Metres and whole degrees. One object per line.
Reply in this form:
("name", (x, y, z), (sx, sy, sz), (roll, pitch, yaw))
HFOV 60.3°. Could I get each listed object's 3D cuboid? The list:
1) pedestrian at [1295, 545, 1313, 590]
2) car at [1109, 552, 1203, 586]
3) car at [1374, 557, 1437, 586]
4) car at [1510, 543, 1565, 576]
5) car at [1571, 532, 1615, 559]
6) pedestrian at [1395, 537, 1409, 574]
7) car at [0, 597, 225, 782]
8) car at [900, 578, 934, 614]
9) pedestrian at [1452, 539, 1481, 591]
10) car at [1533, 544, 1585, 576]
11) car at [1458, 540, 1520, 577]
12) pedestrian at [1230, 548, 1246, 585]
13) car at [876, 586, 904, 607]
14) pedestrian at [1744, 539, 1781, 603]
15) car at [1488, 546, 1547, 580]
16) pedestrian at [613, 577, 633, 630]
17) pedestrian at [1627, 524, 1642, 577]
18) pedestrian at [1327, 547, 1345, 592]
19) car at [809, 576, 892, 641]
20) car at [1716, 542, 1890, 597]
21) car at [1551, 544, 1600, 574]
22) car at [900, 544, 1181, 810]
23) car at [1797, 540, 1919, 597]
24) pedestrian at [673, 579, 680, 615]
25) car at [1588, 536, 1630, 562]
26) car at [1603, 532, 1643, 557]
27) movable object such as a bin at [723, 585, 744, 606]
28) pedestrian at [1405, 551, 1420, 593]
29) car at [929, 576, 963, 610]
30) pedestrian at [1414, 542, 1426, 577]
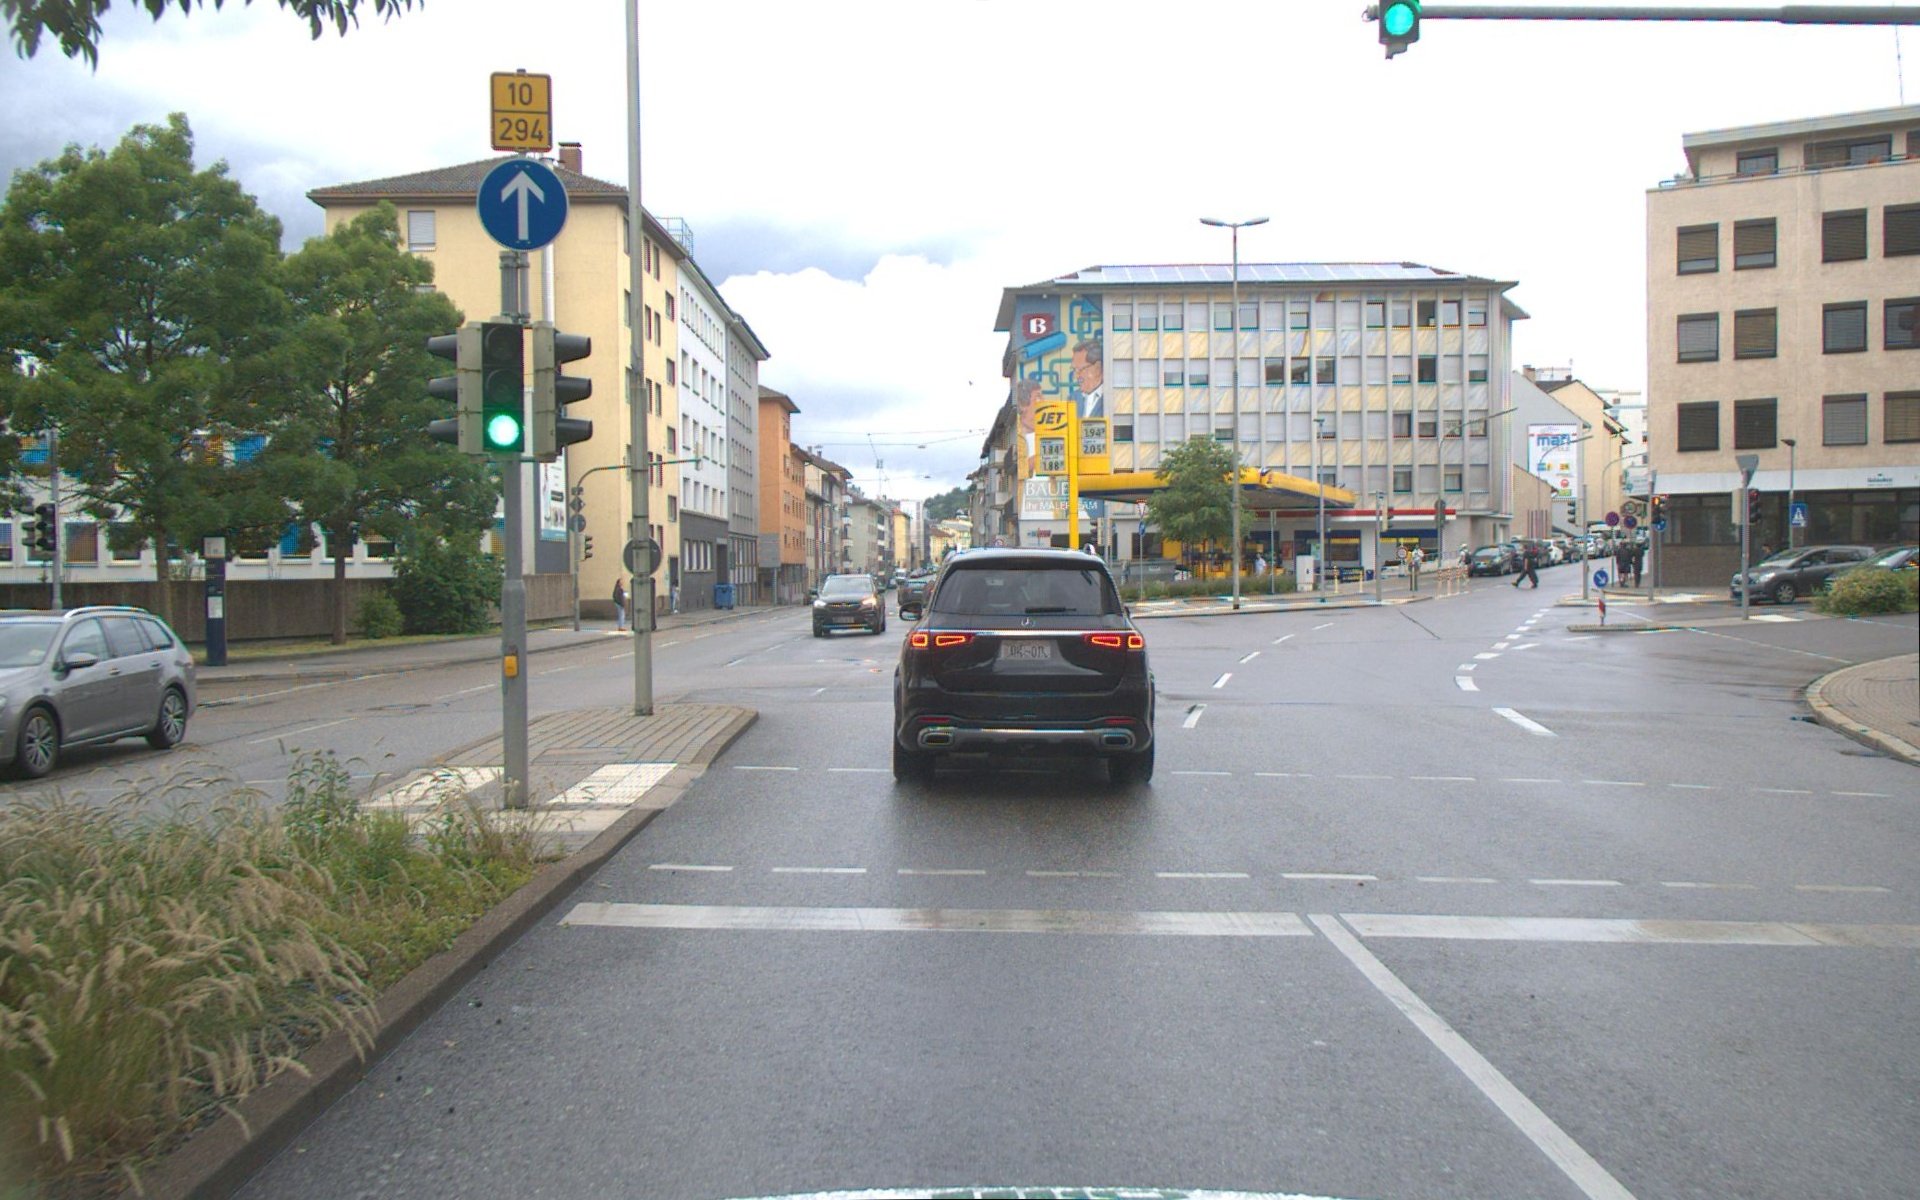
("pedestrian", (13.691, -1.277, 65.772), (0.515, 1.757, 0.688), (-1, 0, 27))
("car", (8.593, -1.356, 72.650), (1.723, 1.400, 3.936), (-2, 0, -43))
("car", (24.557, -1.535, 91.132), (1.962, 1.422, 3.981), (0, -1, 38))
("car", (31.924, -2.234, 91.402), (1.958, 1.735, 3.989), (-1, 0, 33))
("car", (42.788, -3.684, 111.729), (1.958, 1.735, 3.989), (-1, 0, 33))
("pedestrian", (21.602, -2.170, 80.901), (0.515, 1.757, 0.688), (-1, 0, 27))
("car", (-8.868, 0.775, 15.691), (1.809, 1.454, 4.434), (-2, 1, -1))
("car", (-2.531, -0.219, 98.424), (1.953, 2.049, 3.999), (1, -1, -1))
("pedestrian", (21.489, -1.472, 70.204), (0.838, 2.165, 0.947), (-1, 0, -6))
("car", (34.934, -2.323, 96.392), (1.958, 1.735, 3.989), (-1, 0, 33))
("car", (26.556, -2.074, 82.901), (1.958, 1.735, 3.989), (-1, 0, 33))
("pedestrian", (13.430, -1.602, 79.925), (0.516, 1.757, 0.688), (0, 0, 29))
("car", (-5.817, -0.273, 137.355), (1.952, 1.574, 4.190), (1, -1, 2))
("pedestrian", (26.173, -0.933, 53.945), (0.860, 2.049, 0.729), (1, -1, 1))
("car", (29.402, -1.941, 87.178), (1.958, 1.735, 3.989), (-1, 0, 33))
("pedestrian", (-11.313, 0.126, 55.520), (0.616, 1.757, 0.649), (-1, 0, -10))
("pedestrian", (26.189, -1.909, 64.251), (0.388, 2.049, 0.446), (1, -1, 1))
("pedestrian", (14.642, -1.174, 64.390), (0.560, 1.727, 0.631), (1, -1, 1))
("car", (-2.948, 0.251, 45.184), (1.953, 1.643, 4.189), (1, -1, 0))
("car", (24.440, -0.862, 48.046), (4.095, 1.465, 1.860), (-1, 0, 6))
("car", (37.617, -2.470, 100.981), (1.958, 1.735, 3.989), (-1, 0, 33))
("car", (0.565, 0.578, 13.660), (1.953, 1.832, 3.999), (1, -1, 0))
("car", (25.531, -0.881, 45.440), (4.095, 1.465, 1.860), (-1, 0, 6))
("pedestrian", (-13.162, -0.143, 76.810), (0.240, 1.653, 0.411), (1, -1, 1))
("car", (45.467, -3.562, 115.897), (1.958, 1.735, 3.989), (-1, 0, 33))
("car", (48.988, -4.106, 122.152), (1.958, 1.743, 4.373), (-1, 0, 33))
("movable object such as a bin", (-11.689, -0.223, 85.394), (0.891, 1.056, 0.844), (1, -1, 1))
("pedestrian", (15.777, -0.972, 57.681), (0.388, 1.424, 0.446), (1, -1, 1))
("car", (-0.733, -0.331, 83.260), (1.649, 1.624, 3.999), (1, -1, -1))
("pedestrian", (21.925, -1.929, 78.827), (0.474, 1.669, 0.438), (0, -1, 28))
